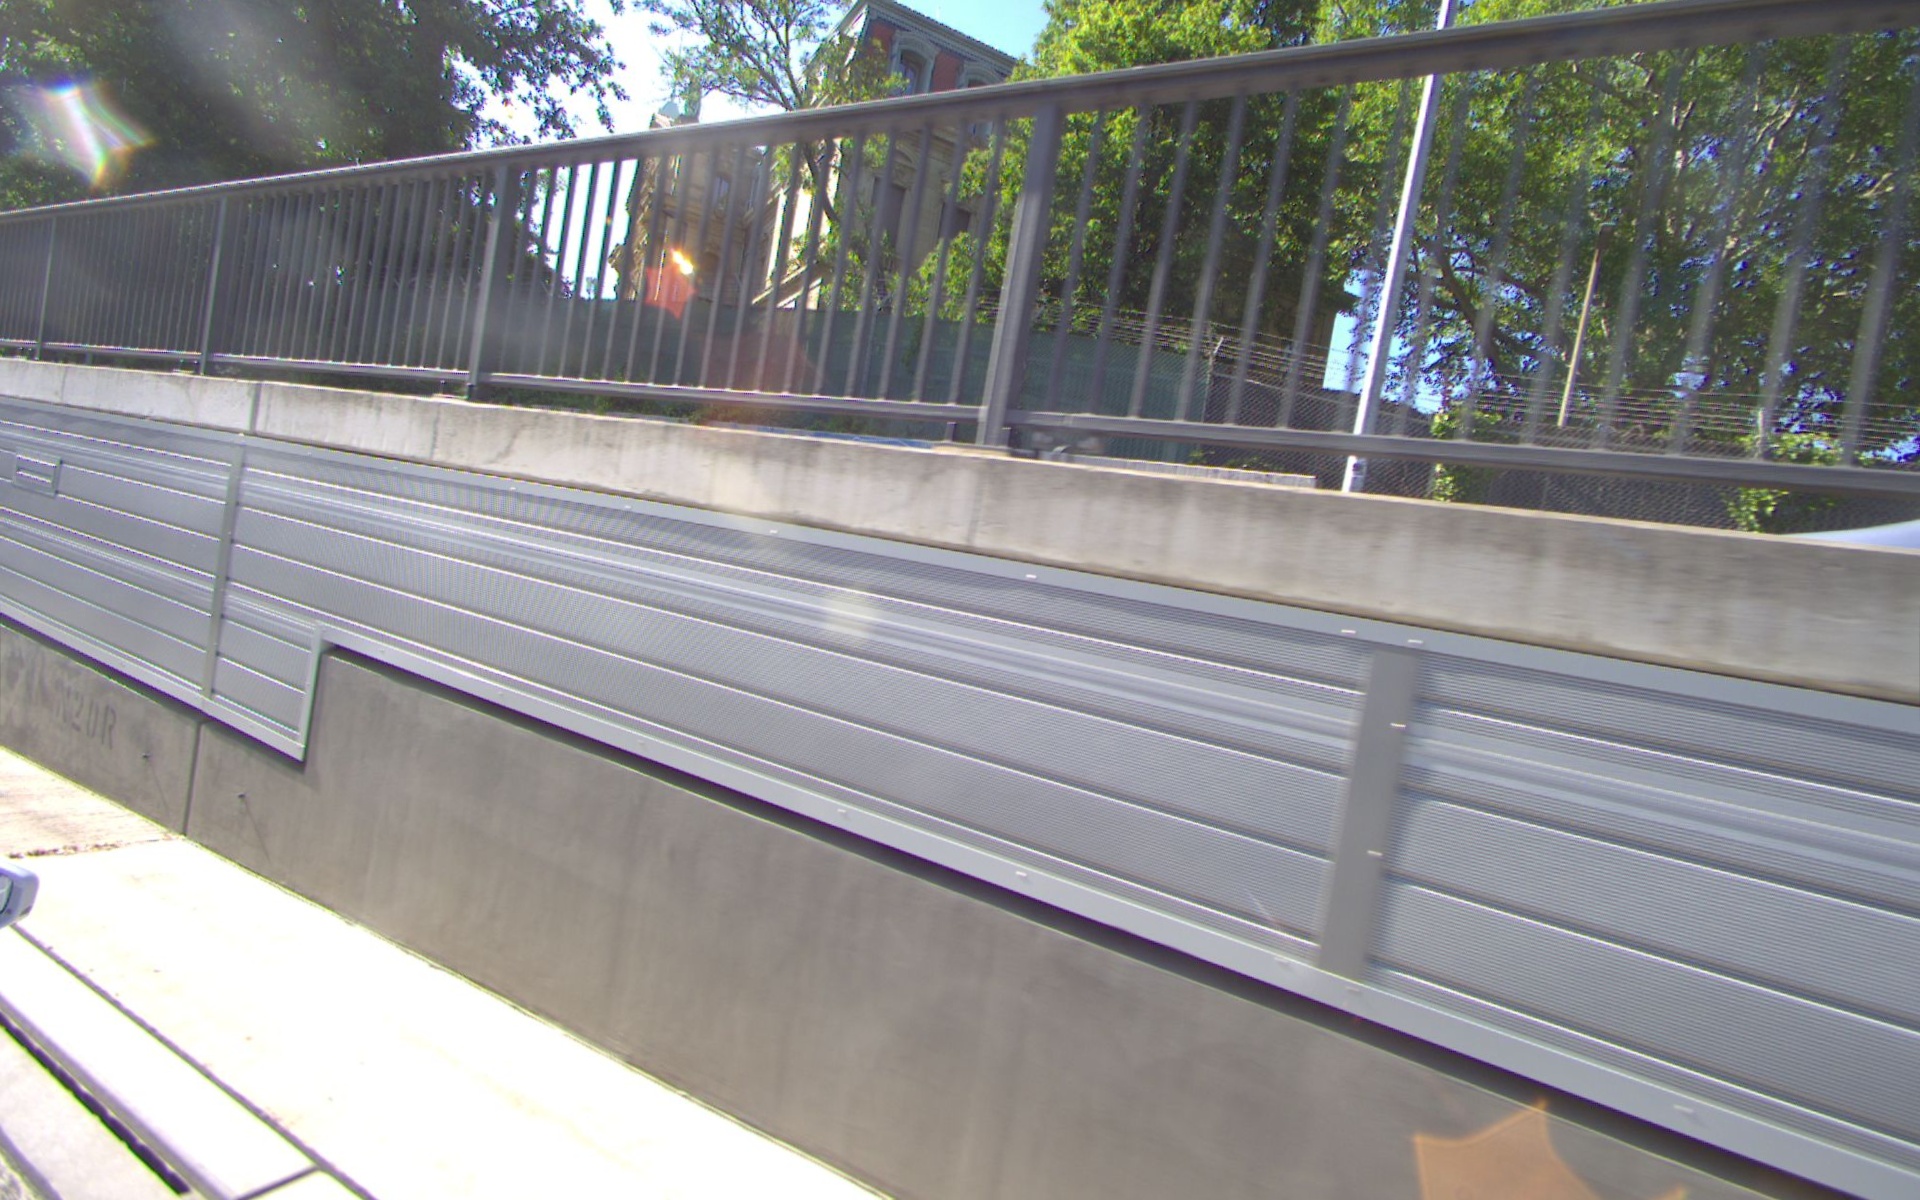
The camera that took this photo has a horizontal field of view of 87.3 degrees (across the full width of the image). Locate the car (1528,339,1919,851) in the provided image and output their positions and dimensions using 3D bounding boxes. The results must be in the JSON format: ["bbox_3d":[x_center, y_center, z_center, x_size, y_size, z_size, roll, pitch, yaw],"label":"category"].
[{"bbox_3d":[4.082,0.213,3.078,3.905,1.452,1.670,10,0,30],"label":"car"}]
